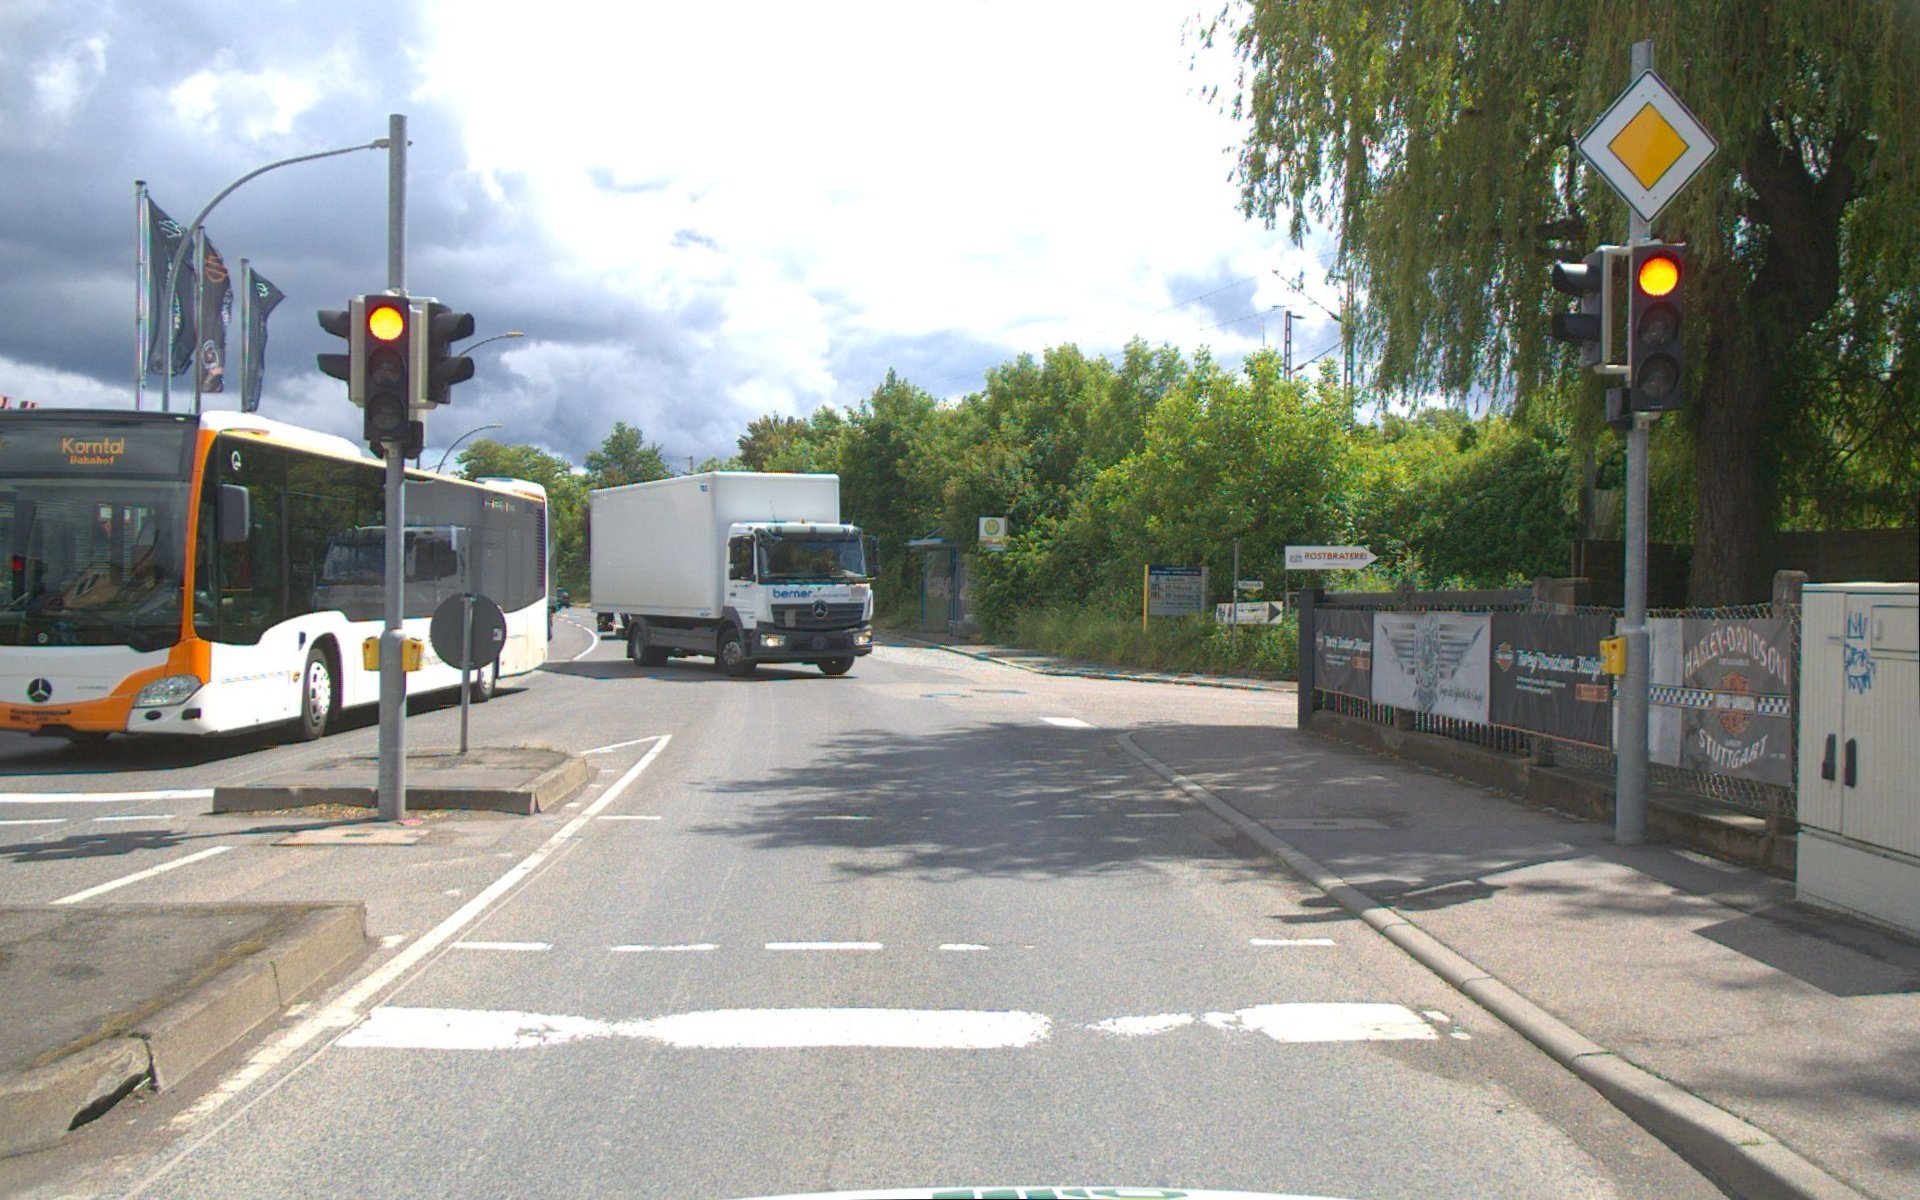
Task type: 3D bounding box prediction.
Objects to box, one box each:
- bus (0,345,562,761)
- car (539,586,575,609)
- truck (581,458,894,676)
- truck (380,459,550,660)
[{"bbox_3d":[-7.437,-0.367,19.332,2.721,3.323,12.121,0,0,0],"label":"bus"},{"bbox_3d":[-28.515,-0.183,116.902,1.859,1.534,3.972,1,0,-23],"label":"car"},{"bbox_3d":[-4.677,-0.576,32.292,2.808,3.602,9.632,0,0,-29],"label":"truck"},{"bbox_3d":[-11.724,-0.866,39.989,2.383,4.203,9.133,3,0,-8],"label":"truck"}]
